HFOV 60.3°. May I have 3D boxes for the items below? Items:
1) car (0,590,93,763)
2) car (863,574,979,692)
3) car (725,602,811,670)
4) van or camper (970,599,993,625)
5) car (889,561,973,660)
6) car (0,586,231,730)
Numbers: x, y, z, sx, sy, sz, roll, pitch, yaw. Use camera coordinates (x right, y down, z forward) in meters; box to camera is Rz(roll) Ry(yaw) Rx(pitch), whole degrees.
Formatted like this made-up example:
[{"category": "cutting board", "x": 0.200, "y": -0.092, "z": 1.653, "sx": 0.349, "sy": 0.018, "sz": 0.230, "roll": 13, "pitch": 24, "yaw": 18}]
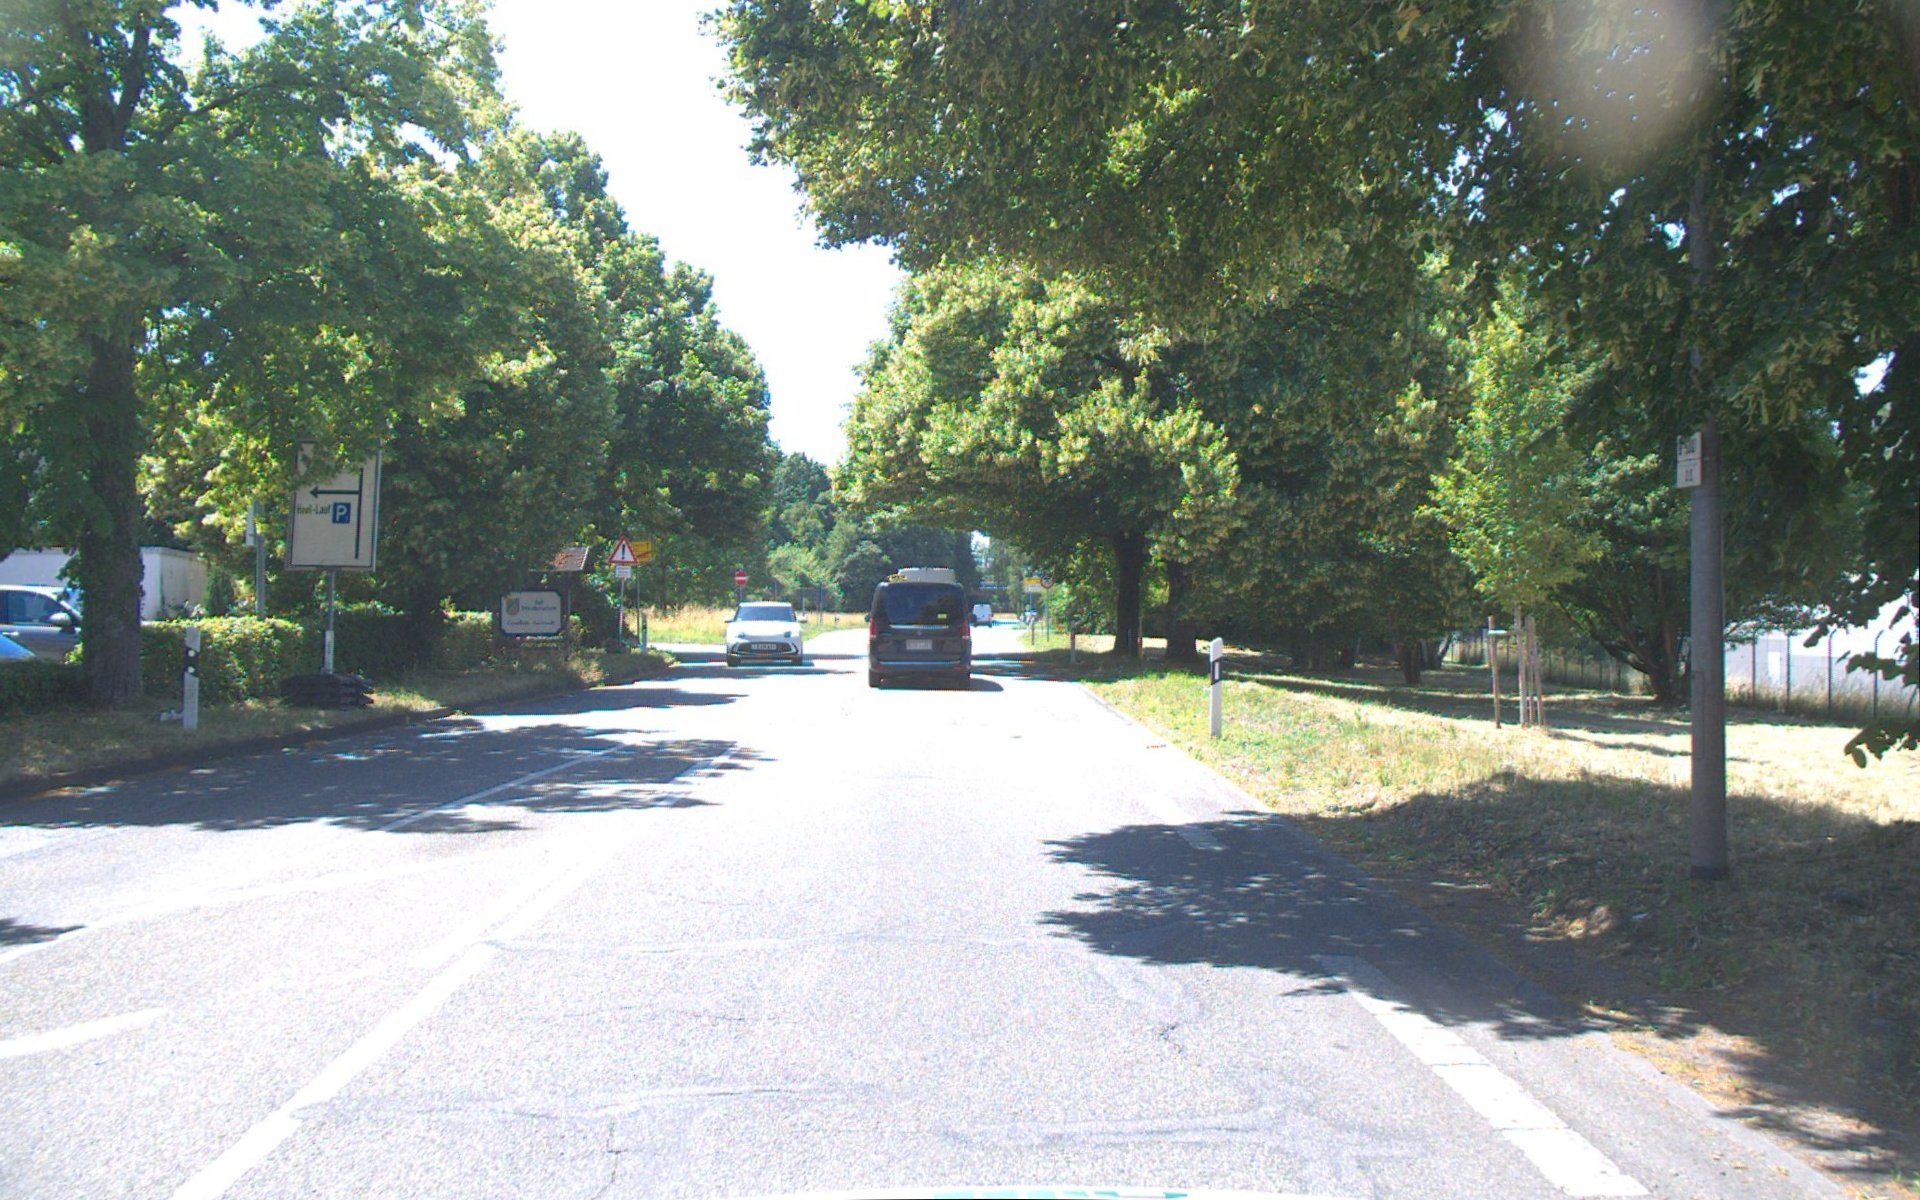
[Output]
[{"category": "car", "x": -12.187, "y": 0.775, "z": 18.052, "sx": 4.312, "sy": 1.807, "sz": 2.071, "roll": 1, "pitch": 0, "yaw": -3}, {"category": "car", "x": -0.720, "y": 0.585, "z": 30.871, "sx": 1.953, "sy": 1.987, "sz": 5.003, "roll": 1, "pitch": 0, "yaw": -1}, {"category": "car", "x": -4.979, "y": 0.882, "z": 42.534, "sx": 2.055, "sy": 1.616, "sz": 4.467, "roll": 1, "pitch": 0, "yaw": -8}, {"category": "van or camper", "x": 2.530, "y": 1.417, "z": 196.658, "sx": 2.578, "sy": 2.980, "sz": 5.206, "roll": 0, "pitch": -1, "yaw": 0}, {"category": "car", "x": -0.803, "y": 0.304, "z": 49.121, "sx": 2.034, "sy": 2.750, "sz": 4.668, "roll": 1, "pitch": 0, "yaw": 4}, {"category": "car", "x": -12.312, "y": 0.729, "z": 21.950, "sx": 4.312, "sy": 1.807, "sz": 2.071, "roll": 1, "pitch": 0, "yaw": -3}]
